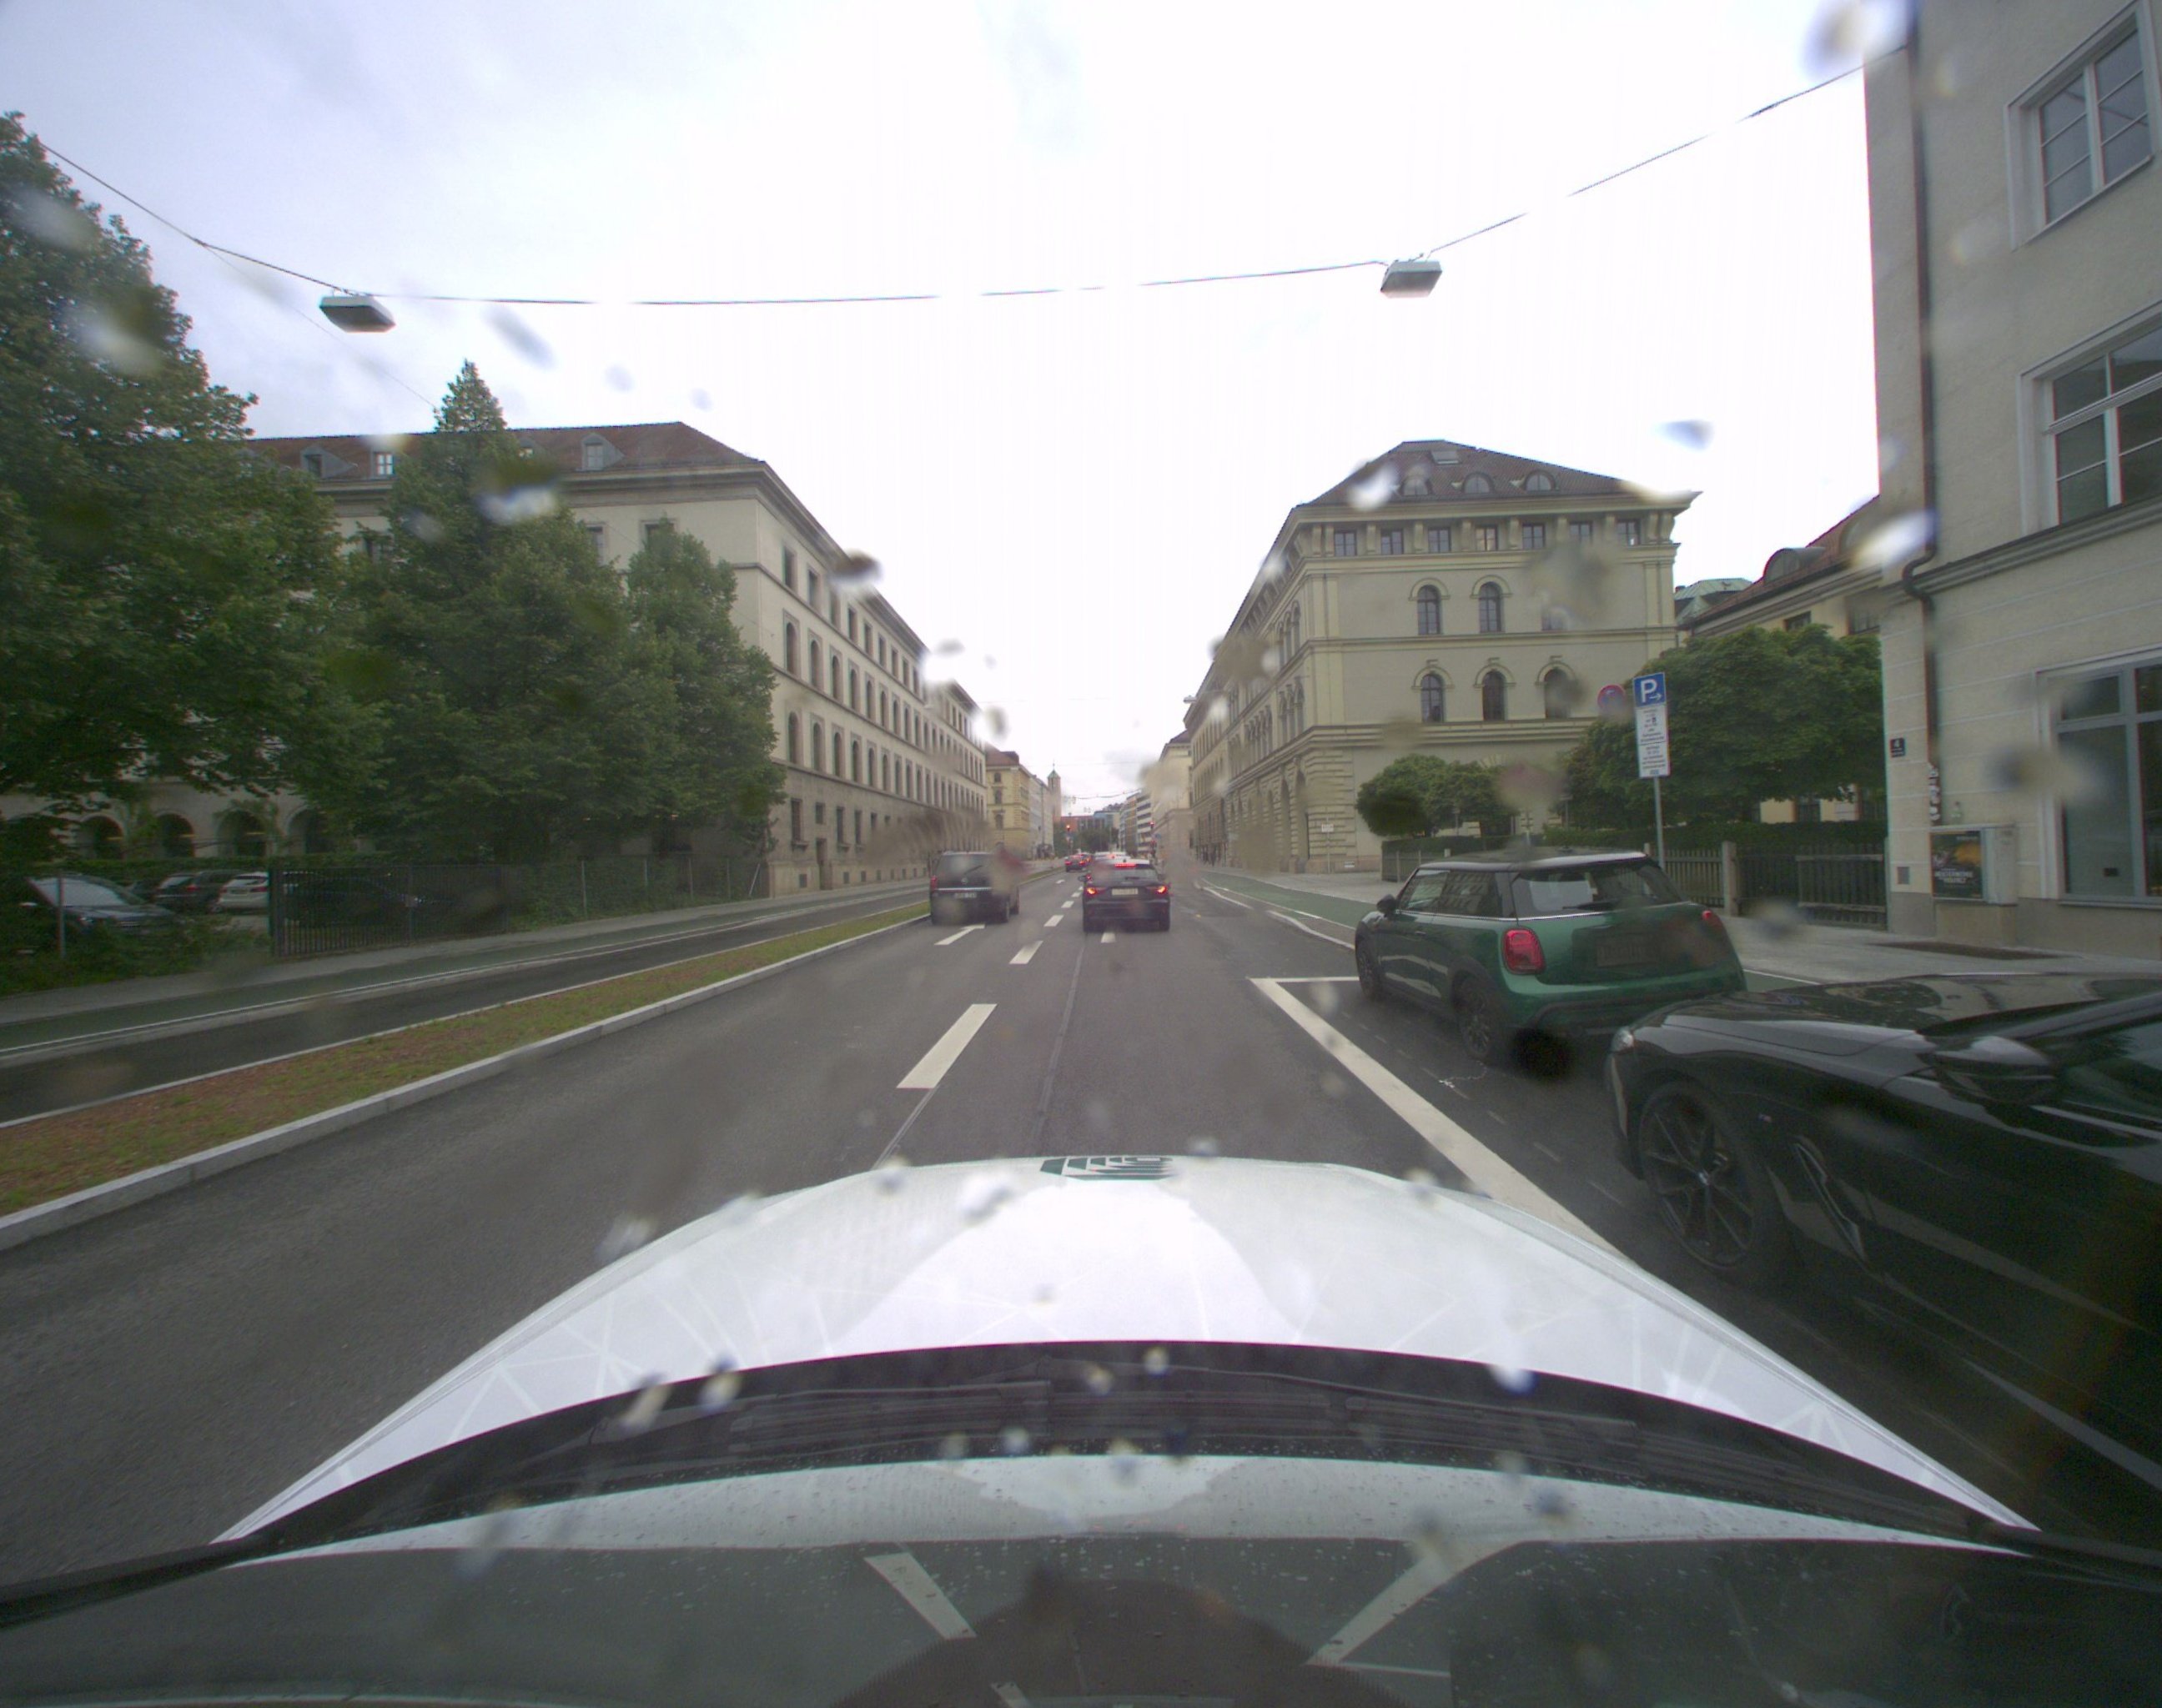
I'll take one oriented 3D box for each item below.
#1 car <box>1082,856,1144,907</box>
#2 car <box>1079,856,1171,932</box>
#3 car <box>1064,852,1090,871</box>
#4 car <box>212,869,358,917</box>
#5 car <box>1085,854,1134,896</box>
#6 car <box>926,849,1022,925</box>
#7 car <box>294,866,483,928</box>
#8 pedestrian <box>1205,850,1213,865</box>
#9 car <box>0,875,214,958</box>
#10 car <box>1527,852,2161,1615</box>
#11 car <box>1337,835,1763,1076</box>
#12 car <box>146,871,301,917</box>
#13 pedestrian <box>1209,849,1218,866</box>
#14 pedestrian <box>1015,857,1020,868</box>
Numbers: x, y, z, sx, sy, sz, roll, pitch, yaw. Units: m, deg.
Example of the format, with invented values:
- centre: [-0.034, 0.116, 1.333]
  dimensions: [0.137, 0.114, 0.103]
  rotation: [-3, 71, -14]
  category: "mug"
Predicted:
- centre: [0.974, 0.778, 24.732]
  dimensions: [1.723, 1.403, 4.002]
  rotation: [-1, 0, 2]
  category: "car"
- centre: [0.905, 0.760, 17.309]
  dimensions: [1.723, 1.403, 4.002]
  rotation: [-1, 0, 2]
  category: "car"
- centre: [-0.309, 0.642, 71.841]
  dimensions: [1.985, 1.627, 4.003]
  rotation: [-2, 0, 2]
  category: "car"
- centre: [-31.023, 1.479, 31.925]
  dimensions: [1.658, 1.640, 4.002]
  rotation: [-2, 0, 2]
  category: "car"
- centre: [1.104, 0.753, 31.122]
  dimensions: [1.723, 1.461, 4.002]
  rotation: [-1, 0, 2]
  category: "car"
- centre: [-2.435, 0.708, 19.453]
  dimensions: [1.759, 1.616, 4.029]
  rotation: [-1, 0, 0]
  category: "car"
- centre: [-21.258, 1.292, 25.112]
  dimensions: [4.246, 1.649, 1.805]
  rotation: [-2, 0, 2]
  category: "car"
- centre: [13.911, 0.397, 88.723]
  dimensions: [0.707, 1.618, 0.754]
  rotation: [-2, 0, 1]
  category: "pedestrian"
- centre: [-21.897, 1.359, 17.892]
  dimensions: [4.122, 1.588, 1.809]
  rotation: [-2, 0, 8]
  category: "car"
- centre: [2.927, 0.710, 1.531]
  dimensions: [1.818, 1.407, 4.724]
  rotation: [-1, 0, 3]
  category: "car"
- centre: [3.571, 0.645, 7.082]
  dimensions: [1.668, 1.521, 3.833]
  rotation: [-1, 0, 3]
  category: "car"
- centre: [-33.550, 1.514, 32.044]
  dimensions: [1.764, 1.544, 4.002]
  rotation: [-2, 0, 2]
  category: "car"
- centre: [12.743, 0.312, 78.535]
  dimensions: [0.707, 1.618, 0.754]
  rotation: [-2, 0, 1]
  category: "pedestrian"
- centre: [-10.643, 1.375, 135.806]
  dimensions: [0.653, 1.805, 0.727]
  rotation: [-2, 0, 1]
  category: "pedestrian"
